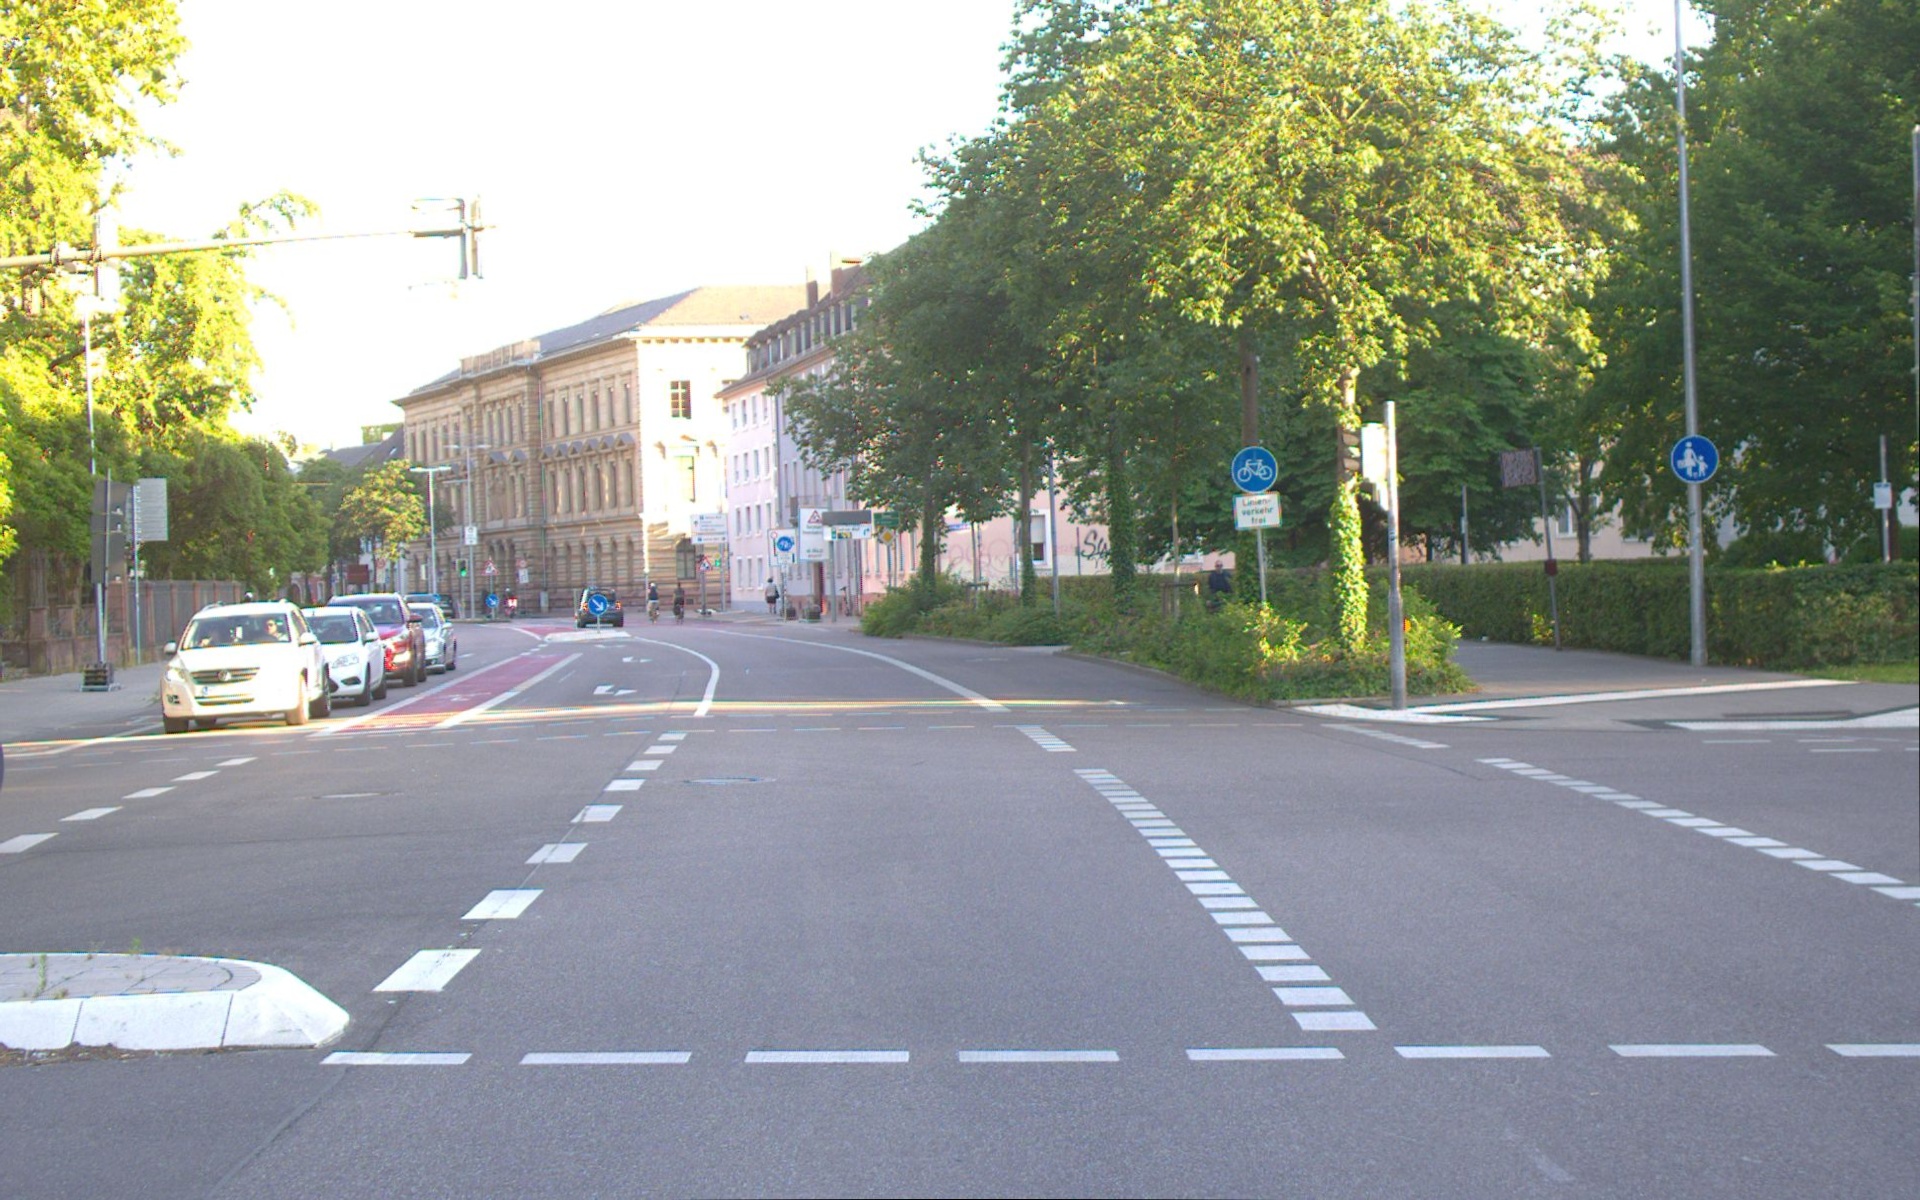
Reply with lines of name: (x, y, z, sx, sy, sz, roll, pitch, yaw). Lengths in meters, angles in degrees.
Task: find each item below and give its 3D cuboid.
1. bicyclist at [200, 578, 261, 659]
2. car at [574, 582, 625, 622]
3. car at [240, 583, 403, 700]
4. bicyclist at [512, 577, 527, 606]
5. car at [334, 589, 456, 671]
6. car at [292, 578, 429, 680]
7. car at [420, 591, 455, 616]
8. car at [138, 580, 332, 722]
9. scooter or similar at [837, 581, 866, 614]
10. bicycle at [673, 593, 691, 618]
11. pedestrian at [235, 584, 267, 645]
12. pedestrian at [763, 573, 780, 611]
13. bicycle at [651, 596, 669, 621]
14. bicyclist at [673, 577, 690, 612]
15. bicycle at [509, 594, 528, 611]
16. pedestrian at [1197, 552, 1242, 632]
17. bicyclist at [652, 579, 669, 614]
bicyclist: (-13.047, 0.326, 61.531, 0.855, 1.426, 0.943, -2, 0, 0)
car: (-14.178, 0.087, 135.004, 1.867, 1.505, 4.001, -1, 0, -7)
car: (-9.776, 0.600, 52.961, 1.916, 1.578, 4.675, -4, 1, -5)
bicyclist: (-26.448, -0.515, 206.263, 0.652, 1.692, 0.957, 1, 0, -21)
car: (-11.102, 0.556, 67.799, 1.916, 1.413, 4.771, -4, 1, -5)
car: (-10.652, 0.484, 61.360, 1.916, 1.619, 4.640, -4, 1, -5)
car: (-32.962, 0.227, 216.739, 1.916, 1.413, 4.771, -4, 1, -10)
car: (-9.679, 0.639, 46.218, 1.916, 1.690, 4.427, -4, 1, -5)
scooter or similar: (-4.466, -0.095, 141.303, 0.629, 1.332, 2.401, -1, 0, -14)
bicycle: (-11.607, 0.241, 143.405, 0.652, 1.012, 2.198, 1, 0, -7)
pedestrian: (-19.040, 0.380, 92.324, 0.681, 1.617, 0.688, -2, 0, -1)
pedestrian: (-8.897, -0.366, 162.253, 0.762, 1.749, 0.845, -1, 0, -3)
bicycle: (-12.504, 0.364, 143.341, 0.652, 1.012, 2.198, 1, 0, -8)
bicyclist: (-11.612, -0.222, 143.407, 0.652, 1.470, 0.941, 1, 0, -7)
bicycle: (-26.486, 0.167, 206.336, 0.652, 1.012, 2.198, 1, 0, -21)
pedestrian: (5.706, -0.186, 75.691, 0.769, 1.733, 0.807, -2, 0, -10)
bicyclist: (-12.478, -0.155, 143.167, 0.652, 1.441, 0.879, 1, 0, -8)
